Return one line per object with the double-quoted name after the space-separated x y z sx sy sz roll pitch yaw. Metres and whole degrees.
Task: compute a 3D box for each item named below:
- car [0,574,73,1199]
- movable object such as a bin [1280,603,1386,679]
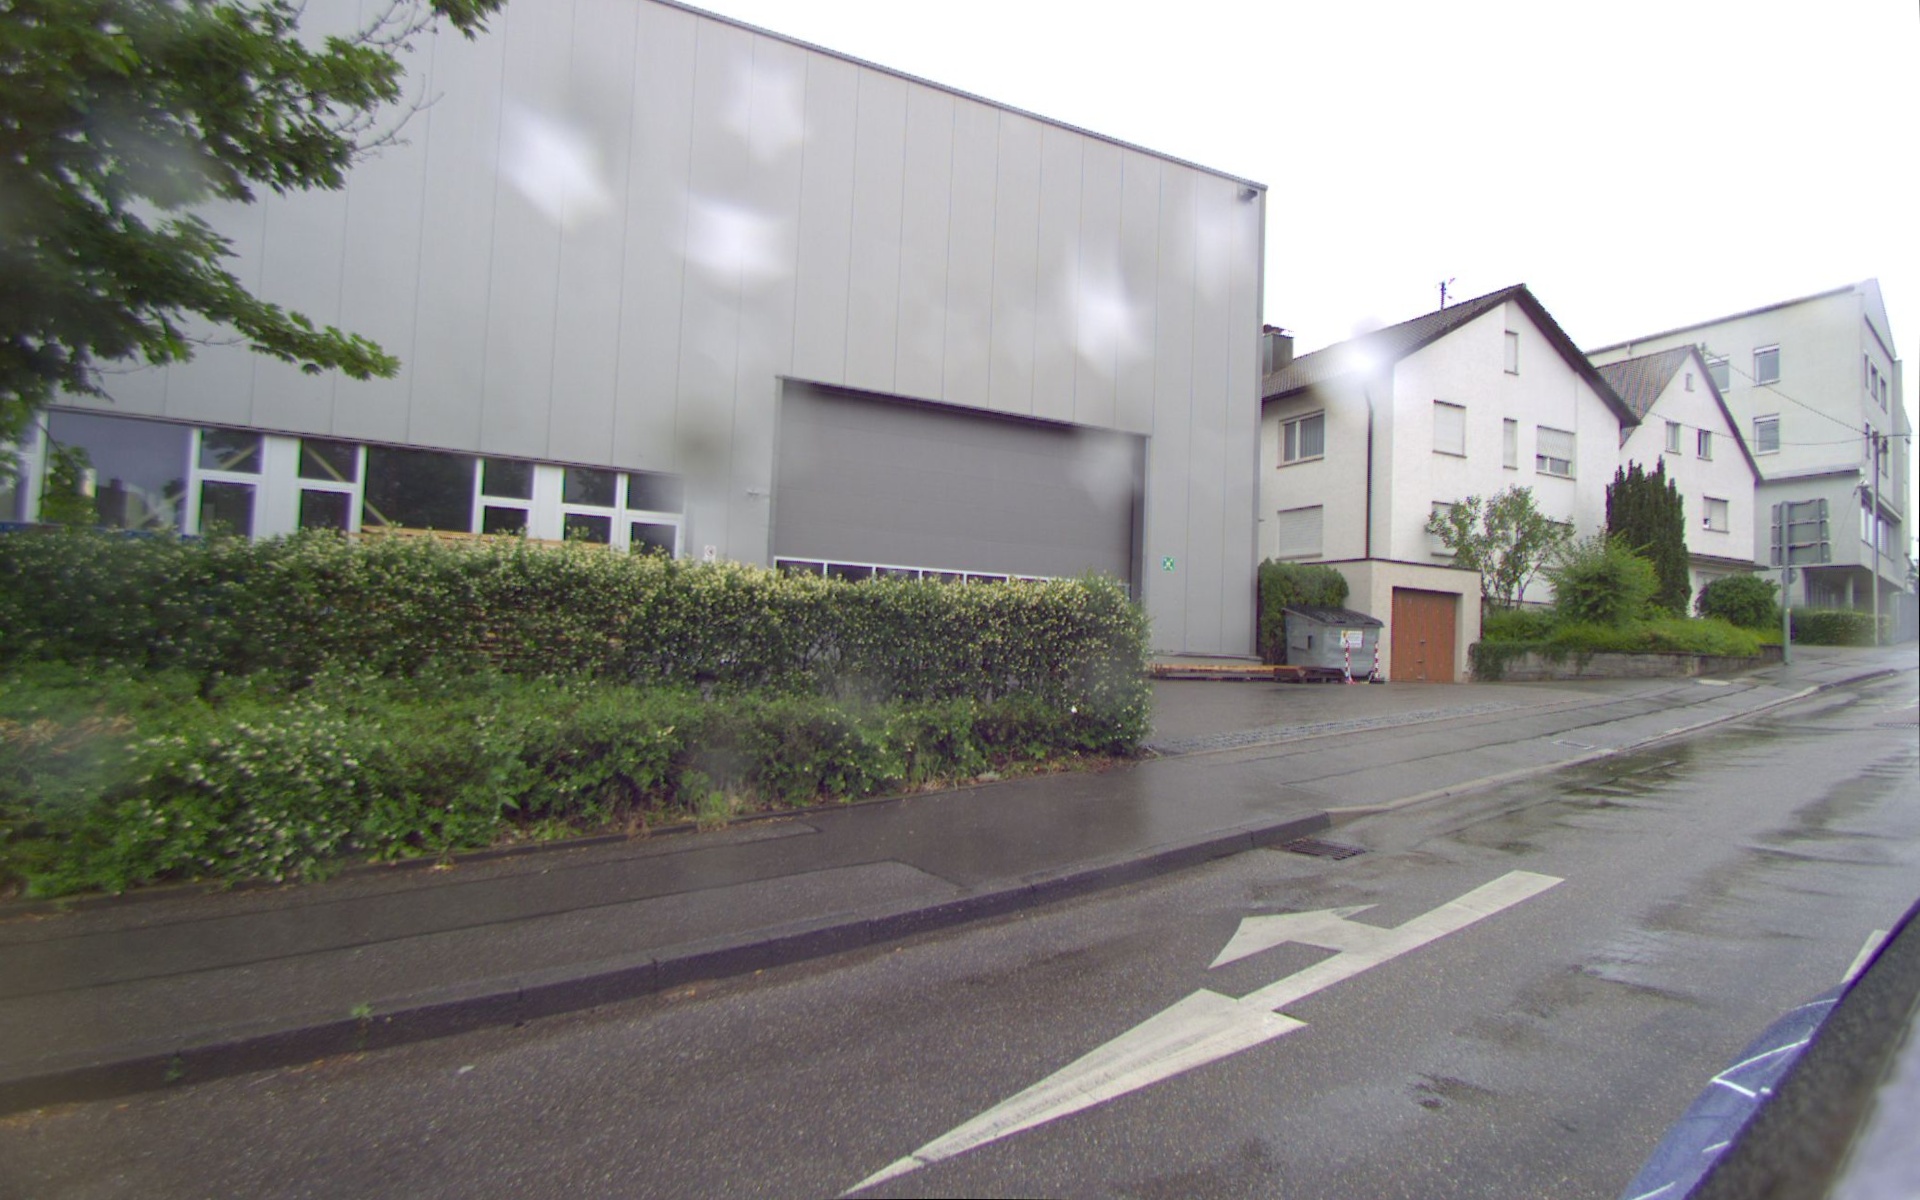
-3.396 0.686 0.753 3.829 1.574 1.695 2 -1 -32 "car"
8.059 0.867 21.886 1.556 1.555 1.451 2 -1 -25 "movable object such as a bin"
